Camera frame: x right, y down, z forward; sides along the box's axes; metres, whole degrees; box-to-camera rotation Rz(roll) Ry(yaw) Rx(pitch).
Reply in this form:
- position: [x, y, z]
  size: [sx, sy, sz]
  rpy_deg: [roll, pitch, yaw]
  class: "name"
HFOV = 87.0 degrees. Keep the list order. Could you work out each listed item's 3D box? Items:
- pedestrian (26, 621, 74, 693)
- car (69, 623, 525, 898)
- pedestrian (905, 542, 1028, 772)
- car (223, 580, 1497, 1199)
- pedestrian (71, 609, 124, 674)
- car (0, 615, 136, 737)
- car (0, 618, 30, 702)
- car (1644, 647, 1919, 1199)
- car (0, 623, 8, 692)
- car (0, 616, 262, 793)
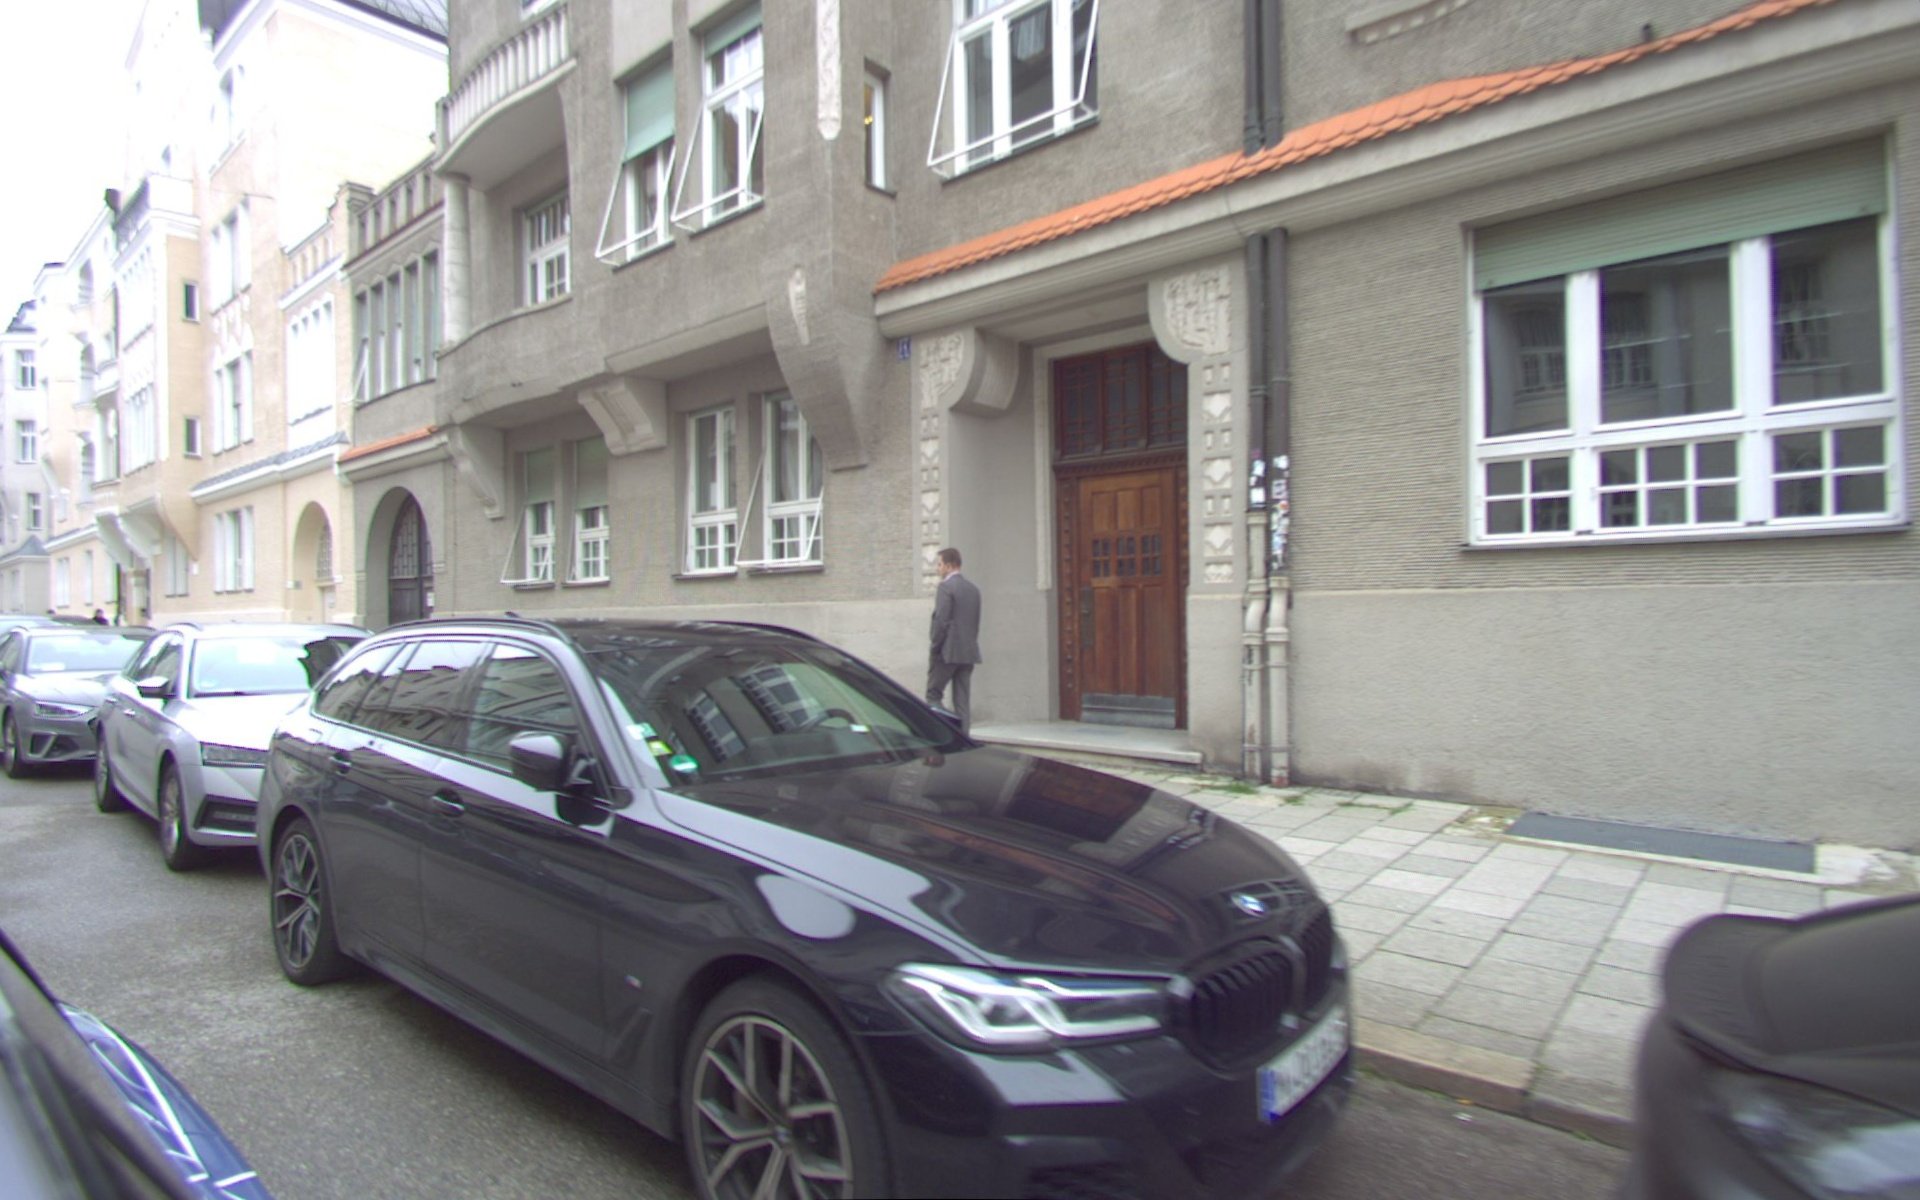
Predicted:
- position: [-23.454, 1.457, 26.091]
  size: [0.740, 1.803, 0.826]
  rpy_deg: [-1, 0, 41]
  class: "pedestrian"
- position: [-5.098, 0.905, 7.498]
  size: [4.438, 1.442, 1.786]
  rpy_deg: [-1, -2, 43]
  class: "car"
- position: [0.059, 0.455, 8.558]
  size: [0.730, 1.831, 0.709]
  rpy_deg: [-1, 0, 40]
  class: "pedestrian"
- position: [-0.860, 0.739, 3.786]
  size: [4.774, 1.459, 1.974]
  rpy_deg: [-1, -1, 40]
  class: "car"
- position: [-24.165, 1.143, 28.360]
  size: [0.939, 1.742, 0.982]
  rpy_deg: [-1, 0, 40]
  class: "pedestrian"
- position: [-13.822, 1.041, 15.002]
  size: [3.810, 1.584, 1.785]
  rpy_deg: [-1, 0, 40]
  class: "car"
- position: [-21.090, 1.236, 21.323]
  size: [4.619, 1.671, 1.929]
  rpy_deg: [-1, 0, 44]
  class: "car"
- position: [2.918, 0.753, 0.480]
  size: [4.095, 1.341, 1.737]
  rpy_deg: [-1, -1, 42]
  class: "car"
- position: [-24.840, 1.408, 24.855]
  size: [4.100, 1.655, 1.713]
  rpy_deg: [-1, 0, 41]
  class: "car"
- position: [-9.460, 0.965, 10.943]
  size: [4.600, 1.525, 1.820]
  rpy_deg: [-1, -1, 37]
  class: "car"
